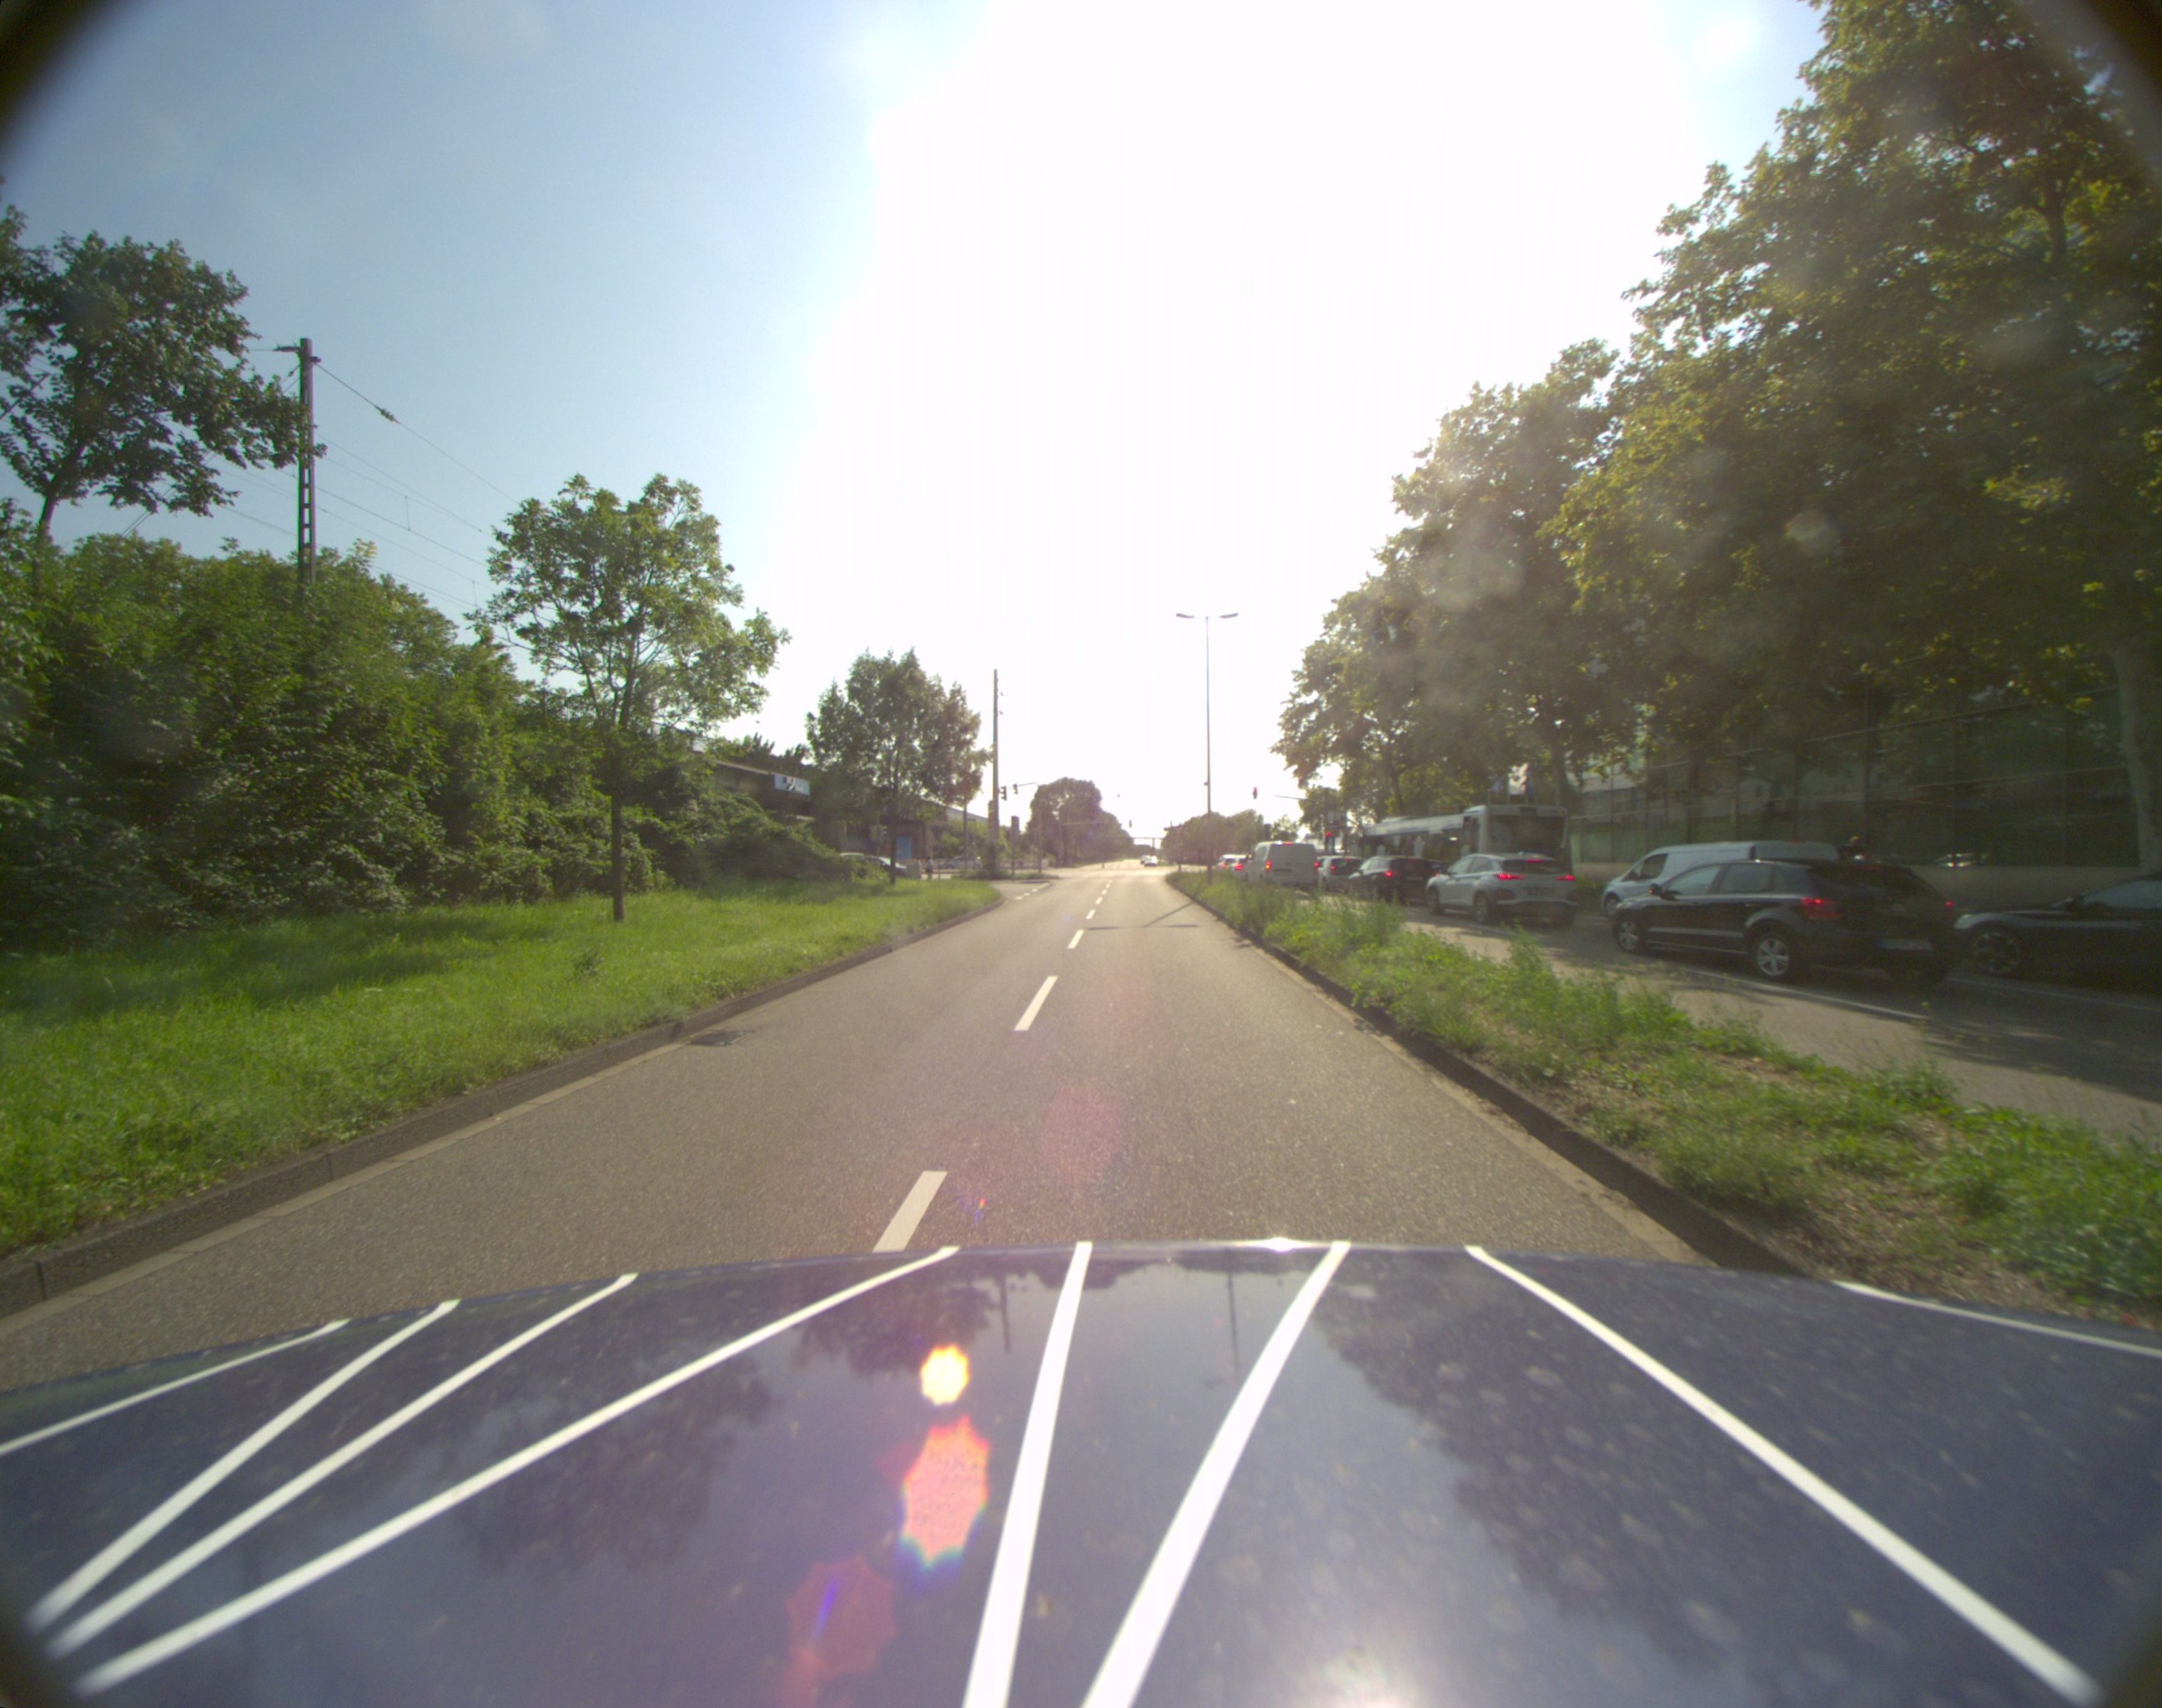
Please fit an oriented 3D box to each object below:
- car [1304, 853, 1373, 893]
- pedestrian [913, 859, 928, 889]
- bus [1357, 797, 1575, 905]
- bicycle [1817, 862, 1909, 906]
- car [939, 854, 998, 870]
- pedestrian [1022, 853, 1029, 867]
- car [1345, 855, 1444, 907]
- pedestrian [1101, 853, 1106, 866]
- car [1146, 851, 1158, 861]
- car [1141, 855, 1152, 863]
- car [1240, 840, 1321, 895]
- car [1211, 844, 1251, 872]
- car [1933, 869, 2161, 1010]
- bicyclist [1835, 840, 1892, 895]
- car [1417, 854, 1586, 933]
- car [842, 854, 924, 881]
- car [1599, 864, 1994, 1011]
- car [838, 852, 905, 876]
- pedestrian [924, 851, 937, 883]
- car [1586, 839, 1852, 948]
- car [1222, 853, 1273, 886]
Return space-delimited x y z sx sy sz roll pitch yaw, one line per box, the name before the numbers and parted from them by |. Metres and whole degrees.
car | 10.479 0.734 31.218 1.710 1.458 3.822 2 1 3
pedestrian | -8.574 1.073 40.617 0.573 1.558 0.535 -2 2 -37
bus | 13.335 -0.125 28.069 2.596 3.061 12.314 -1 0 4
bicycle | 20.884 0.774 20.345 0.649 1.101 1.800 0 0 3
car | -10.983 0.750 74.278 5.441 1.438 1.855 -1 1 -35
pedestrian | -6.117 0.675 83.783 0.636 1.565 0.489 -2 1 -33
car | 9.818 0.782 24.146 1.650 1.425 4.190 1 1 4
pedestrian | 2.845 0.692 95.163 0.587 1.715 0.647 0 1 -1
car | 10.020 0.296 106.662 1.544 1.433 3.396 0 0 7
car | 12.056 0.909 139.295 1.864 1.584 4.002 0 0 6
car | 7.267 0.463 28.167 1.916 1.853 4.891 1 0 3
car | 8.142 0.202 41.519 1.647 1.487 4.001 0 0 4
car | 12.061 0.941 7.825 1.651 1.403 4.481 1 1 3
bicyclist | 20.897 0.355 20.313 0.649 1.431 0.840 0 1 3
car | 9.375 0.786 17.364 1.698 1.520 4.141 2 1 3
car | -11.362 0.759 43.573 4.185 1.524 1.873 0 1 19
car | 8.717 0.884 9.807 1.618 1.390 3.858 2 1 5
car | -15.025 0.664 54.441 4.223 1.608 2.006 -1 1 -30
pedestrian | -7.873 0.663 39.820 0.493 1.672 0.570 -1 1 -27
car | 12.767 0.672 15.716 1.707 1.877 4.749 1 1 4
car | 7.747 0.699 35.734 1.713 1.394 4.085 1 0 4
